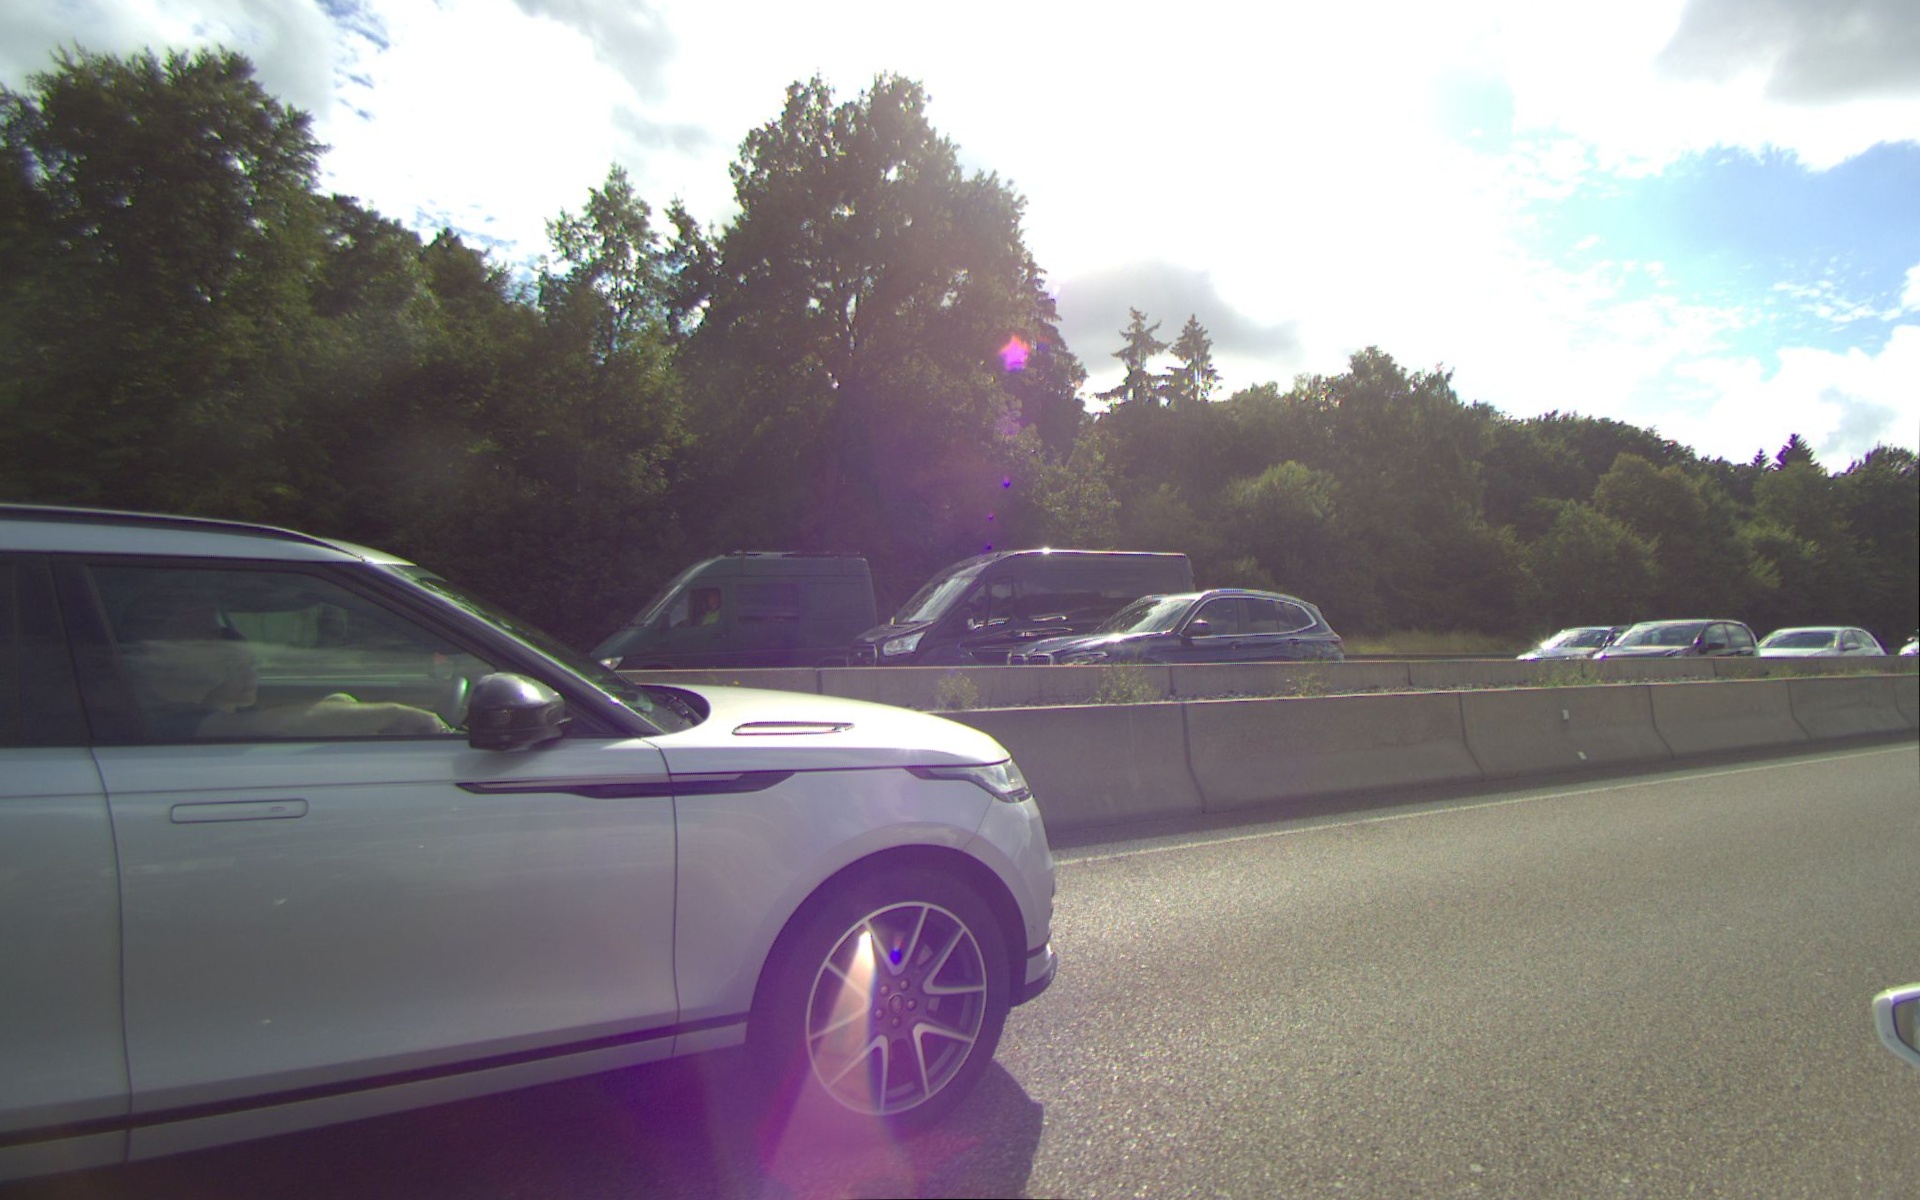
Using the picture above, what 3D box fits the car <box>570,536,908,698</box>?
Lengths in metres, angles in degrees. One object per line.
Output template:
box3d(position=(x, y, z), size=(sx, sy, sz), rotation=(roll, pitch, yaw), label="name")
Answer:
box3d(position=(-3.702, 0.297, 17.111), size=(5.265, 2.405, 1.985), rotation=(1, 0, -29), label="car")

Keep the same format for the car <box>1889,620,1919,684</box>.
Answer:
box3d(position=(26.074, 1.366, 25.981), size=(4.304, 1.593, 1.758), rotation=(1, 0, -29), label="car")

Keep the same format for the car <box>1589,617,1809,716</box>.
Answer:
box3d(position=(13.546, 1.161, 18.426), size=(3.468, 1.593, 1.985), rotation=(1, 0, -29), label="car")

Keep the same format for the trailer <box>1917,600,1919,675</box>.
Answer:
box3d(position=(40.314, 1.558, 39.140), size=(8.445, 2.823, 2.267), rotation=(2, 0, -32), label="trailer")

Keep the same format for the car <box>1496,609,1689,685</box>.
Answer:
box3d(position=(14.795, 1.056, 23.474), size=(4.304, 1.593, 1.985), rotation=(1, 0, -29), label="car")

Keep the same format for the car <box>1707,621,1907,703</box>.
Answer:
box3d(position=(18.804, 1.329, 22.278), size=(4.304, 1.593, 1.985), rotation=(1, 0, -29), label="car")

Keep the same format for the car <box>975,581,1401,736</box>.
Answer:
box3d(position=(2.912, 0.645, 12.474), size=(5.144, 1.593, 1.985), rotation=(1, 0, -29), label="car")

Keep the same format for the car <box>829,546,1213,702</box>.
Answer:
box3d(position=(1.048, 0.368, 15.581), size=(5.775, 2.059, 1.985), rotation=(1, 0, -29), label="car")

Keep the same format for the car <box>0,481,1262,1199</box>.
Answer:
box3d(position=(-1.655, 0.623, 2.910), size=(5.045, 1.628, 1.891), rotation=(2, -1, -30), label="car")
